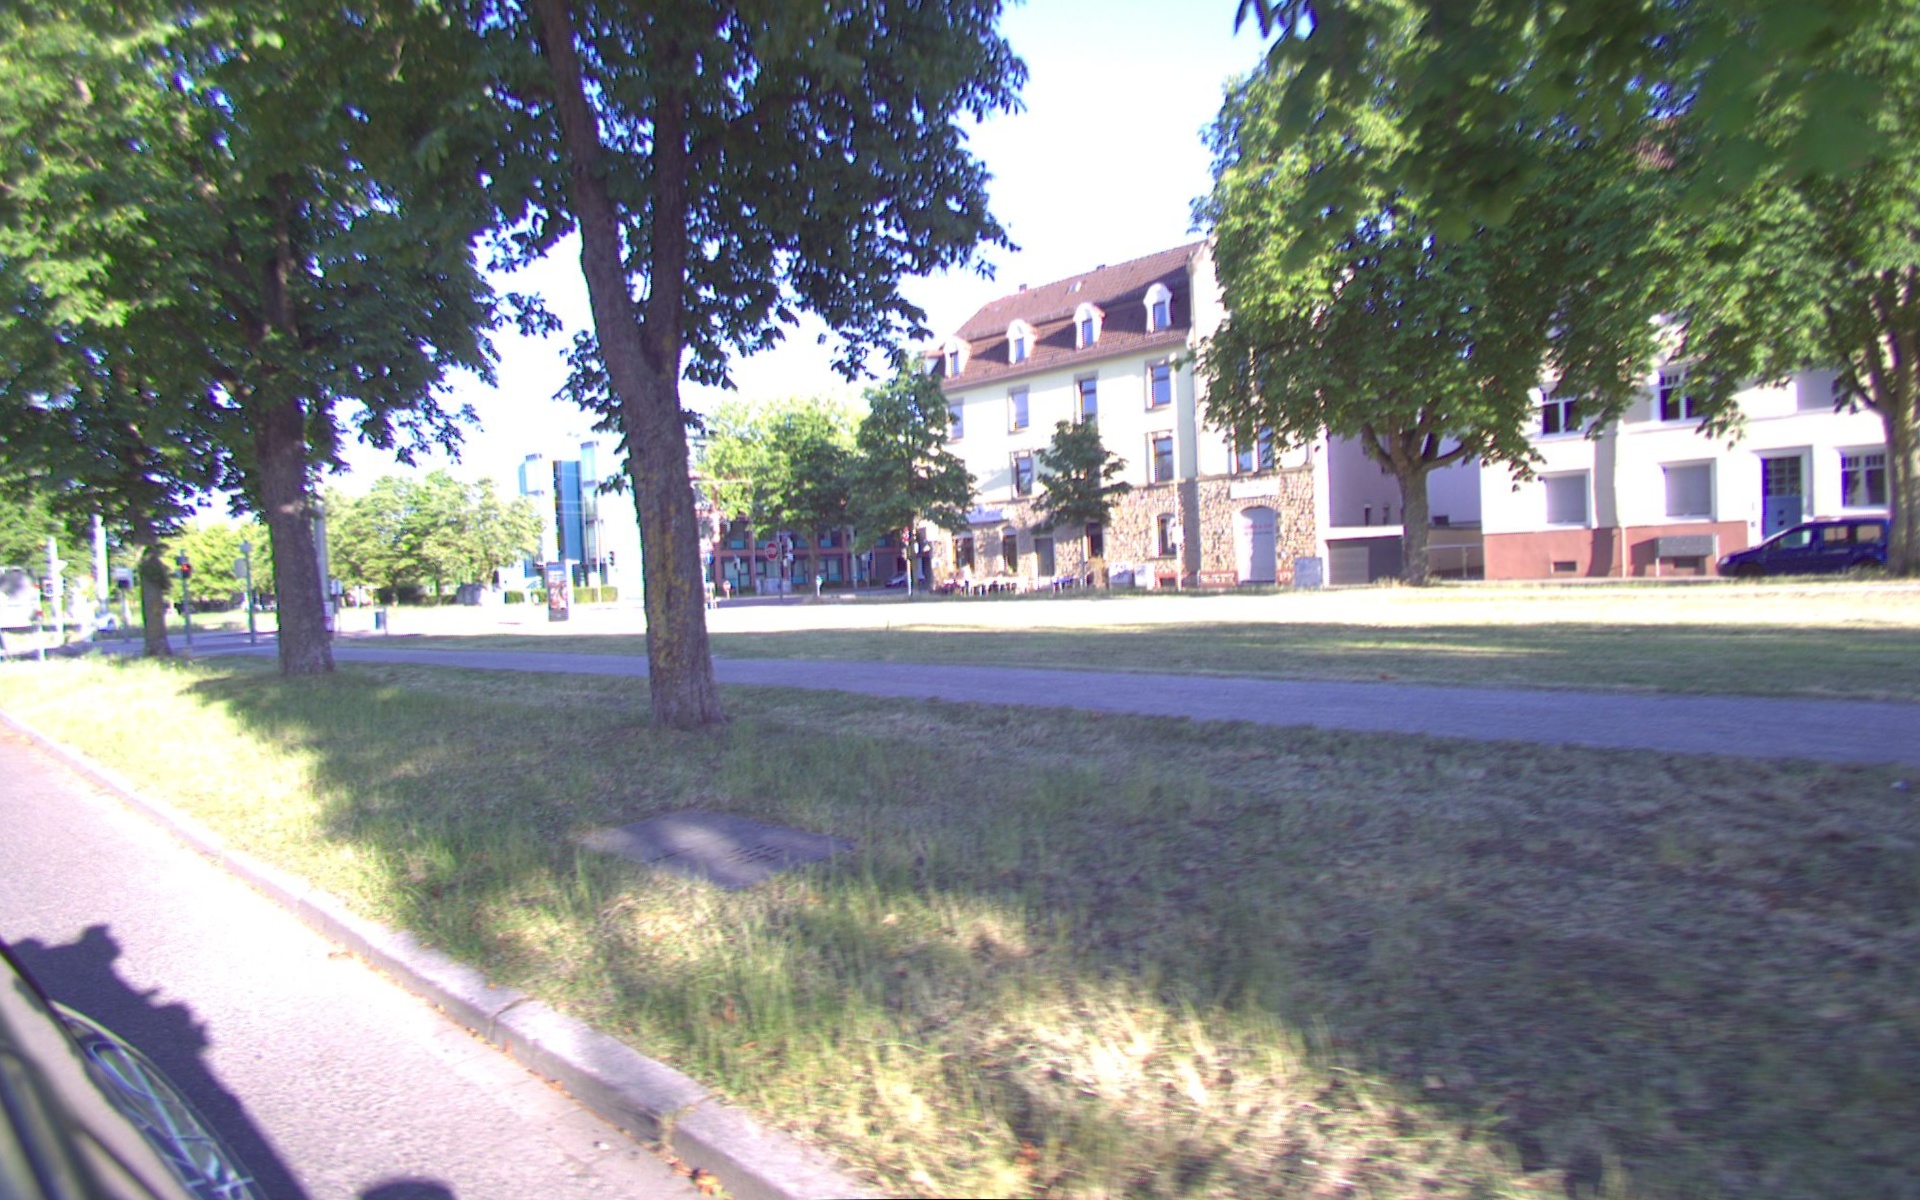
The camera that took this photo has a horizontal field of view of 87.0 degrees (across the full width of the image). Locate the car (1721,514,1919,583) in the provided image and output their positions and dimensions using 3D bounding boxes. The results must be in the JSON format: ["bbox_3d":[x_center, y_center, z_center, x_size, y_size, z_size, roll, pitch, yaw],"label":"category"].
[{"bbox_3d":[25.148,-1.472,29.683,4.312,1.748,1.972,0,5,43],"label":"car"}]

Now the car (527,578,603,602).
[{"bbox_3d":[-30.284,-0.771,77.660,1.965,1.684,5.156,0,2,38],"label":"car"}]

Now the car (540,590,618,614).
[{"bbox_3d":[-28.650,0.108,76.263,1.998,1.684,5.155,-1,1,39],"label":"car"}]

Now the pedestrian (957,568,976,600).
[{"bbox_3d":[0.360,-0.859,54.475,0.682,1.636,0.610,-1,5,40],"label":"pedestrian"}]
